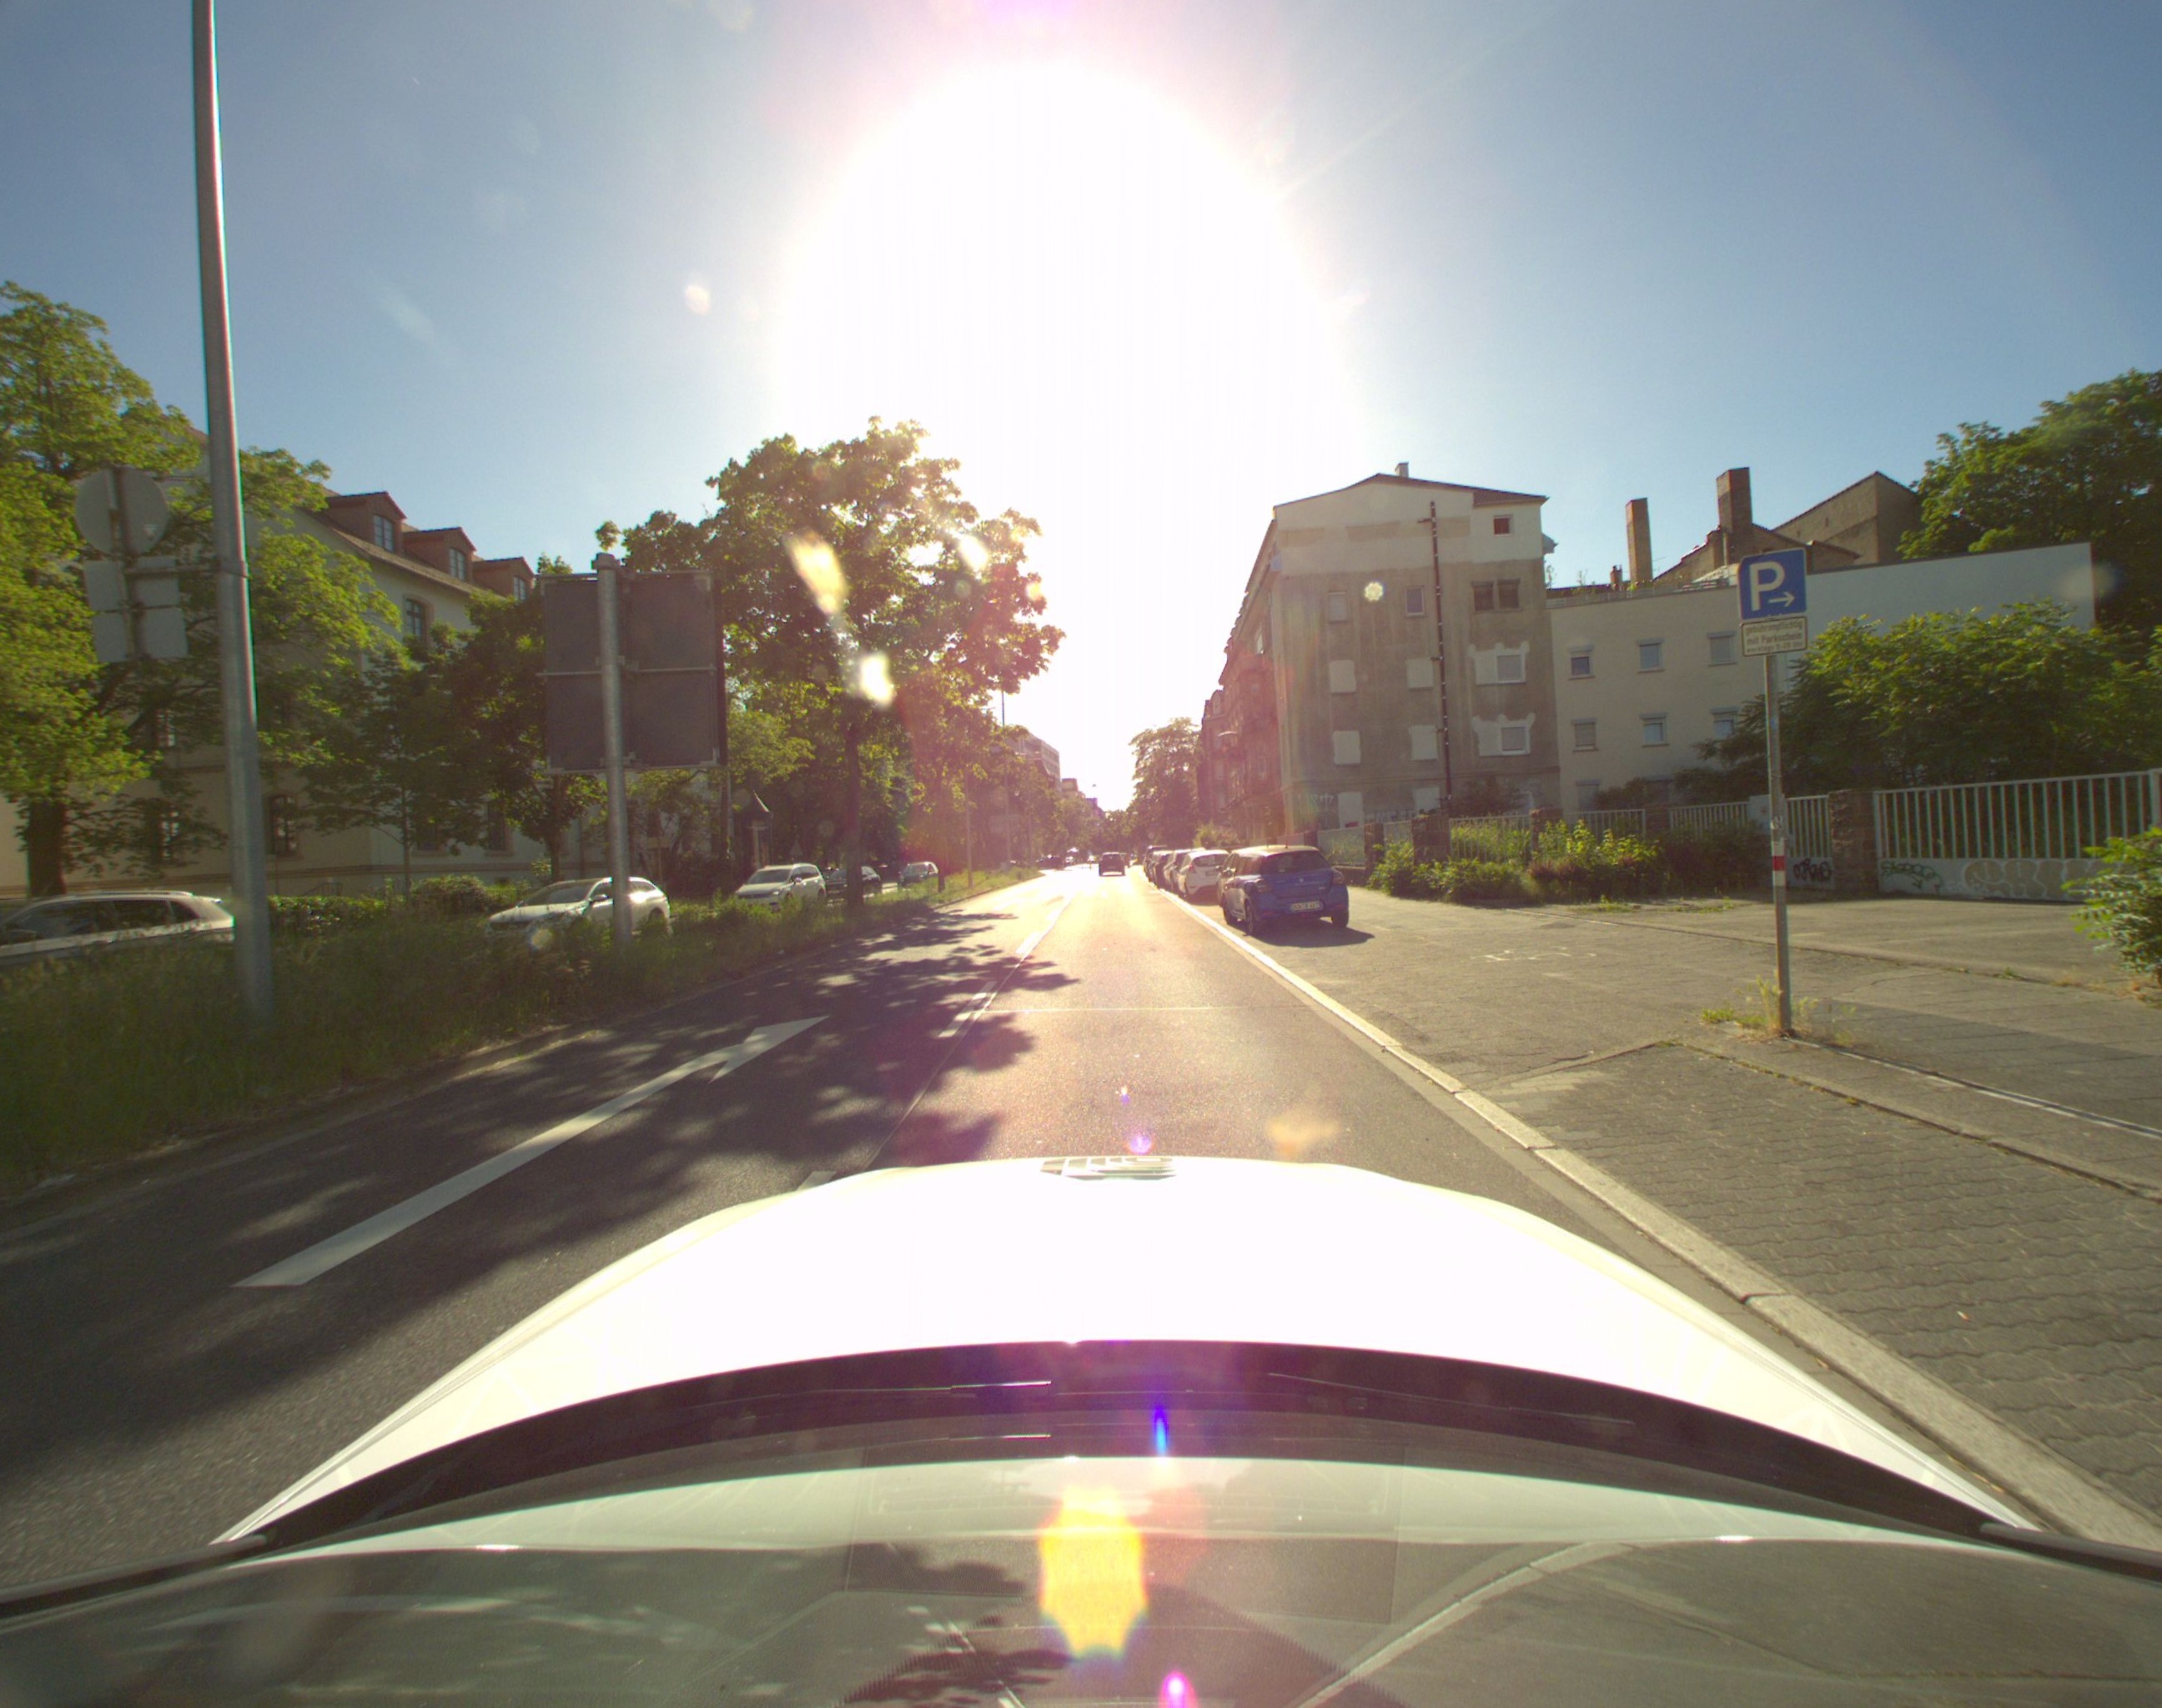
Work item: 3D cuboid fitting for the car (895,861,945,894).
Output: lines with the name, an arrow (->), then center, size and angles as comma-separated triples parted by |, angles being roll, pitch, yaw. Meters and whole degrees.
car -> -8.409, 1.190, 42.948 | 1.632, 1.519, 4.259 | -3, 0, 1

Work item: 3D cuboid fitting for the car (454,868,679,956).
car -> -11.251, 1.179, 18.307 | 1.831, 1.519, 4.670 | -3, 0, 3

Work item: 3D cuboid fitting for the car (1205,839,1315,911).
car -> 4.325, 0.470, 20.302 | 1.663, 1.459, 3.983 | -6, 0, -1

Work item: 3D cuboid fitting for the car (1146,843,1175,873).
car -> 5.313, 0.239, 54.876 | 1.811, 1.844, 4.370 | -3, 0, 5

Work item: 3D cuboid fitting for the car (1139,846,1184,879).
car -> 4.166, 0.405, 42.843 | 1.928, 1.519, 4.485 | -3, 0, 1

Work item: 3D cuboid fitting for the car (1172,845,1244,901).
car -> 3.849, 0.528, 25.265 | 1.603, 1.446, 3.659 | -6, 0, 1

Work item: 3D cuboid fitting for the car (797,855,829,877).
car -> -31.279, 1.405, 95.093 | 1.838, 2.324, 4.988 | -1, -3, 3

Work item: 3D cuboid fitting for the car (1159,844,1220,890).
car -> 4.007, 0.446, 30.470 | 1.663, 1.519, 3.659 | -3, 0, -1

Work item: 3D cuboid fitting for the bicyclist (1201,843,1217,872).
bicyclist -> 7.011, 0.189, 44.784 | 0.738, 1.580, 1.101 | -2, 1, 4

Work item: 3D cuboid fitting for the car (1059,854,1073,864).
car -> -2.414, 0.779, 129.837 | 1.514, 1.432, 3.346 | -3, 0, 10

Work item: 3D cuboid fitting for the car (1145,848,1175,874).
car -> 4.801, 0.387, 49.768 | 1.660, 1.468, 4.280 | -3, 0, 5

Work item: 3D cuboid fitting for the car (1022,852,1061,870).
car -> -3.965, 0.754, 82.182 | 3.837, 1.633, 1.619 | -2, -3, -1

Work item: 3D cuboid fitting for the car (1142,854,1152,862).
car -> 14.270, 0.858, 175.325 | 1.910, 1.640, 4.008 | -3, 0, 7

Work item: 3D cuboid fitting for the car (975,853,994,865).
car -> -14.342, 0.801, 120.975 | 1.980, 1.662, 3.976 | -3, 0, -18

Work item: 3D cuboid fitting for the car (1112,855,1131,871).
car -> 4.099, 0.902, 83.076 | 1.785, 1.520, 3.850 | -2, -1, 2

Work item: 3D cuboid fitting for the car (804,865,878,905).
car -> -10.306, 1.308, 35.258 | 1.789, 1.519, 4.087 | -4, -1, 1

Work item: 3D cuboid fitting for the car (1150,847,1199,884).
car -> 3.944, 0.456, 34.836 | 1.662, 1.393, 3.776 | -3, 0, 1

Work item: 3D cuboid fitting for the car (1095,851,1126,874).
car -> 1.972, 0.565, 55.372 | 1.889, 1.519, 3.999 | -1, 0, -1

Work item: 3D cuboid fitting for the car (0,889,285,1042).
car -> -11.929, 1.213, 9.088 | 1.789, 1.519, 4.260 | -2, -2, 2

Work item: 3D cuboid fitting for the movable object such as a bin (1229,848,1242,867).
movable object such as a bin -> 10.038, 0.224, 52.902 | 0.719, 1.157, 0.609 | -2, -3, 4

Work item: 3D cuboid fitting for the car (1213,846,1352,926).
car -> 3.736, 0.533, 15.772 | 1.662, 1.182, 3.901 | -6, 0, 0

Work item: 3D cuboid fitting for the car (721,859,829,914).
car -> -10.547, 1.066, 28.483 | 1.894, 1.625, 4.538 | -4, 0, 1

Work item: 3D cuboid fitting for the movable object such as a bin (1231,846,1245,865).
movable object such as a bin -> 10.031, 0.129, 51.919 | 0.755, 1.157, 0.609 | -2, -3, 4
